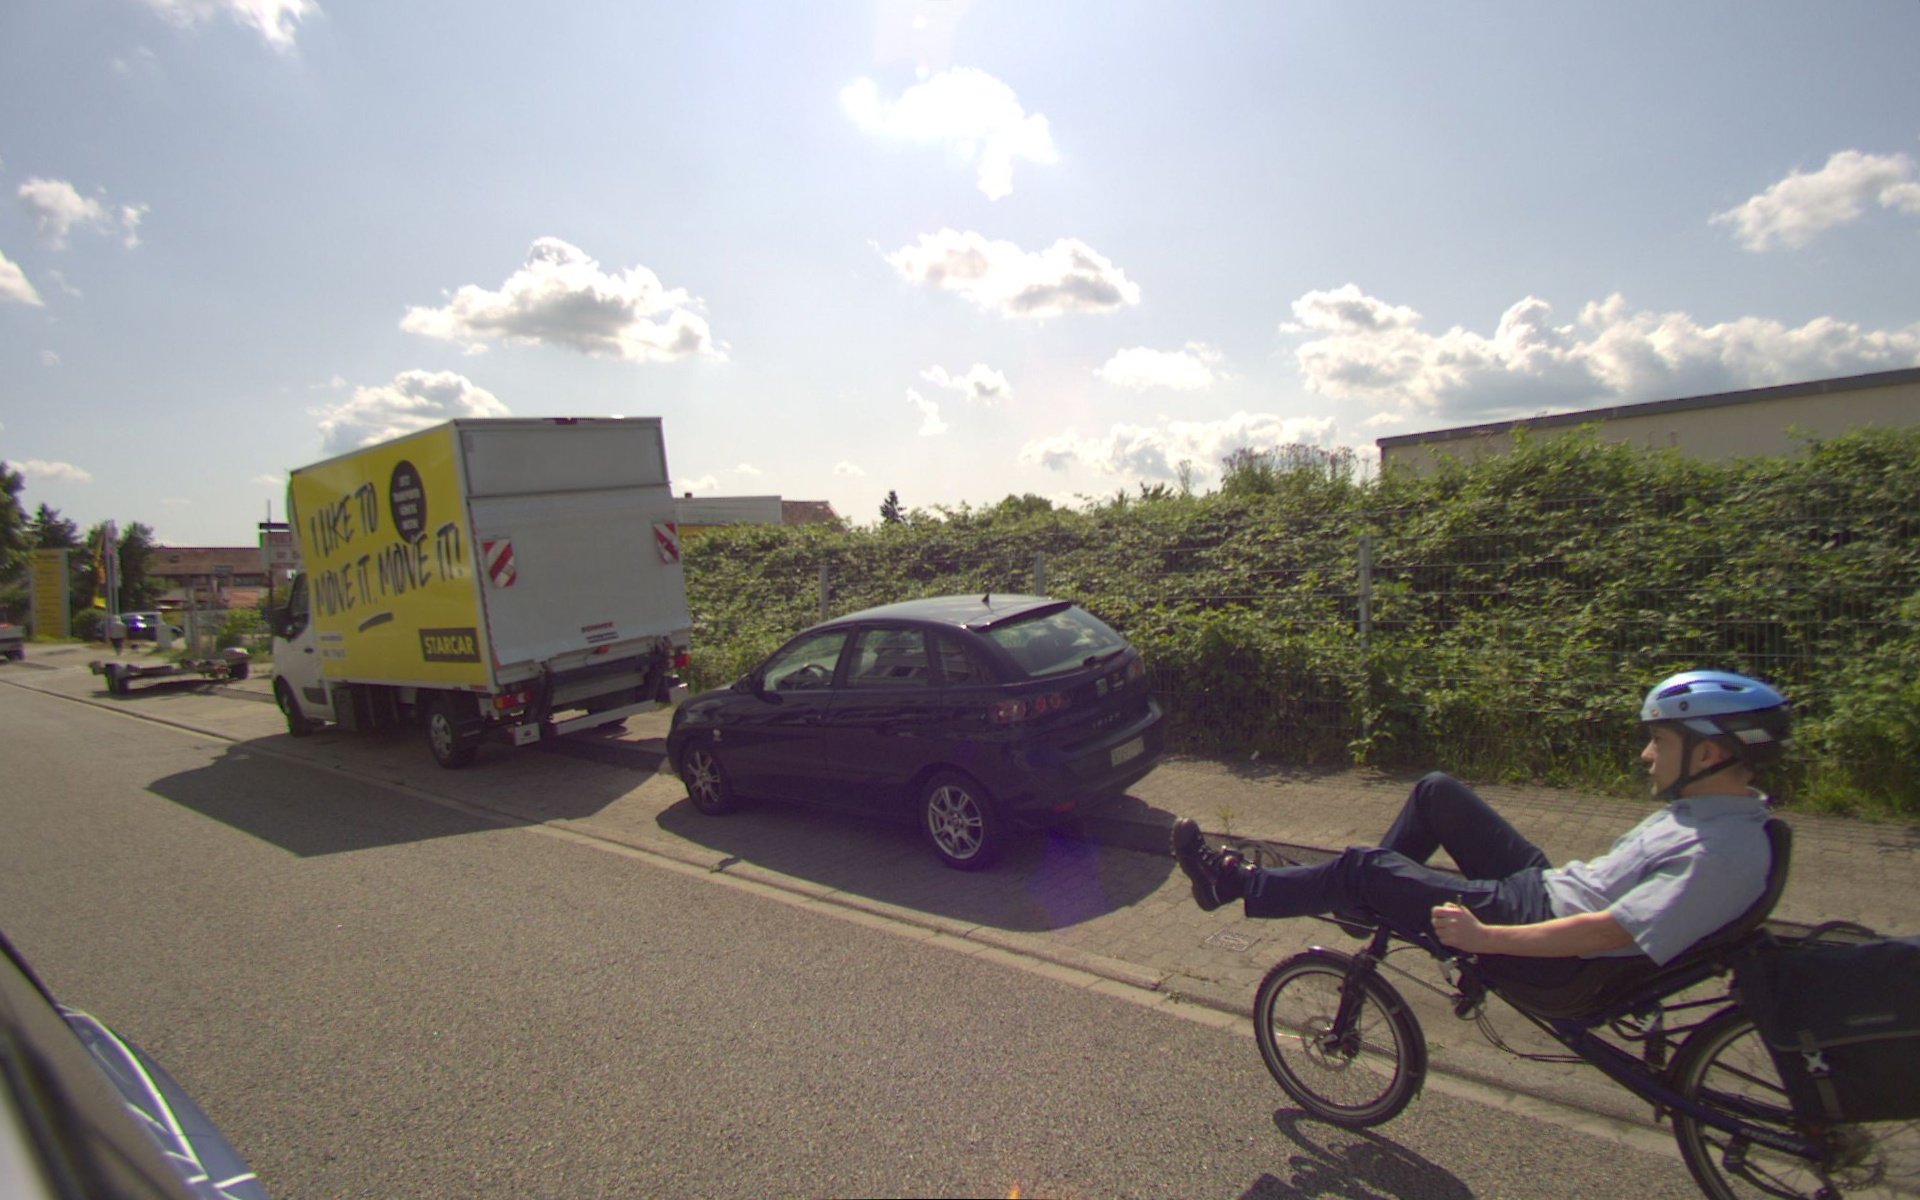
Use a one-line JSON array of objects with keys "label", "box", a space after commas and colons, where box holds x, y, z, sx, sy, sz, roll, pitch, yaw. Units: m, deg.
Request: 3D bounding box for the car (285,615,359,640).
[{"label": "car", "box": [-43.896, 1.885, 69.648, 4.213, 1.494, 1.674, -2, 1, -36]}]

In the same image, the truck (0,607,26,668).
[{"label": "truck", "box": [-39.645, 1.565, 40.932, 7.350, 2.255, 2.105, -2, 3, 44]}]

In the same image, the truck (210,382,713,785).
[{"label": "truck", "box": [-5.998, -0.141, 11.542, 6.900, 3.385, 2.229, -2, 5, 40]}]

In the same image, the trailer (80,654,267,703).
[{"label": "trailer", "box": [-16.849, 1.618, 21.618, 4.440, 0.556, 2.214, -2, 5, 40]}]

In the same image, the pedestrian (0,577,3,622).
[{"label": "pedestrian", "box": [-39.509, -0.099, 40.056, 3.999, 2.028, 1.973, -1, 2, 42]}]

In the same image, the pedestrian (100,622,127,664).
[{"label": "pedestrian", "box": [-32.793, 1.657, 39.207, 0.917, 1.557, 0.653, -2, 0, 42]}]

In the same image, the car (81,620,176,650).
[{"label": "car", "box": [-47.821, 1.992, 58.314, 1.844, 1.424, 3.822, -2, 2, 18]}]

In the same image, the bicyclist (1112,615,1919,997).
[{"label": "bicyclist", "box": [1.317, 0.383, 2.485, 1.857, 0.636, 0.559, -2, 1, 43]}]

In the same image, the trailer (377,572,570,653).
[{"label": "trailer", "box": [-19.299, 0.436, 40.347, 6.434, 2.873, 2.764, -3, 1, -38]}]

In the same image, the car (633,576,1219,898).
[{"label": "car", "box": [-0.413, 0.702, 6.857, 3.825, 1.439, 1.603, -1, 6, 42]}]

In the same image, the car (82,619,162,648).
[{"label": "car", "box": [-56.305, 2.237, 68.046, 4.035, 1.726, 1.682, -3, 0, -41]}]

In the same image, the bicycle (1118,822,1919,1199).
[{"label": "bicycle", "box": [1.438, 1.094, 2.403, 2.125, 0.747, 0.581, -2, 0, 43]}]

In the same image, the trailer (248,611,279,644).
[{"label": "trailer", "box": [-39.238, 1.518, 57.055, 1.249, 1.704, 2.978, -3, 2, -33]}]
